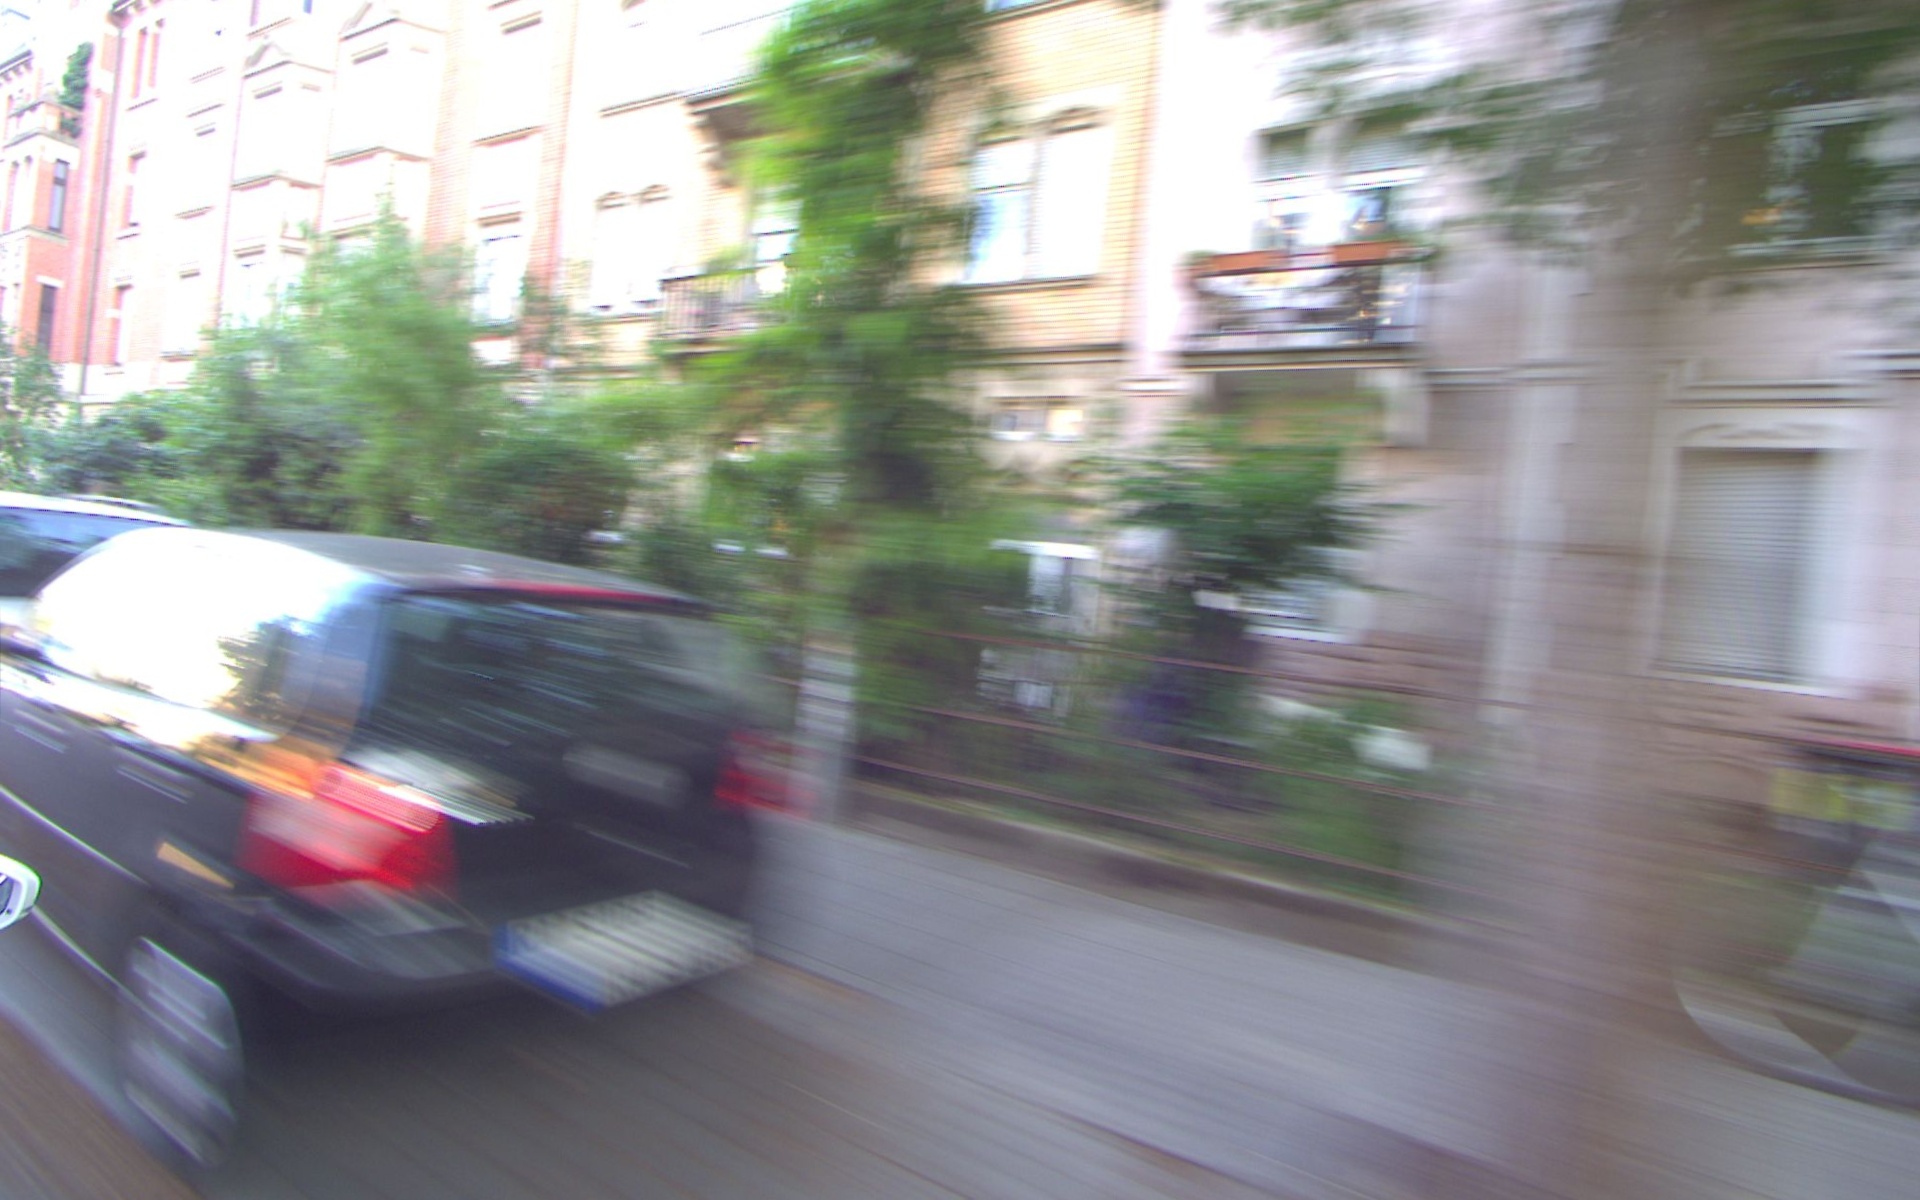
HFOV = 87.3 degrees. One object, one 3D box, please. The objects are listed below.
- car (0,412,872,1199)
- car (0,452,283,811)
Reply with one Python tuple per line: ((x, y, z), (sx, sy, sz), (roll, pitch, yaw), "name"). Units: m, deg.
((-2.411, 0.378, 3.693), (3.879, 1.625, 1.687), (6, -1, 36), "car")
((-5.818, 0.010, 5.835), (3.877, 1.625, 1.688), (6, -1, 34), "car")
